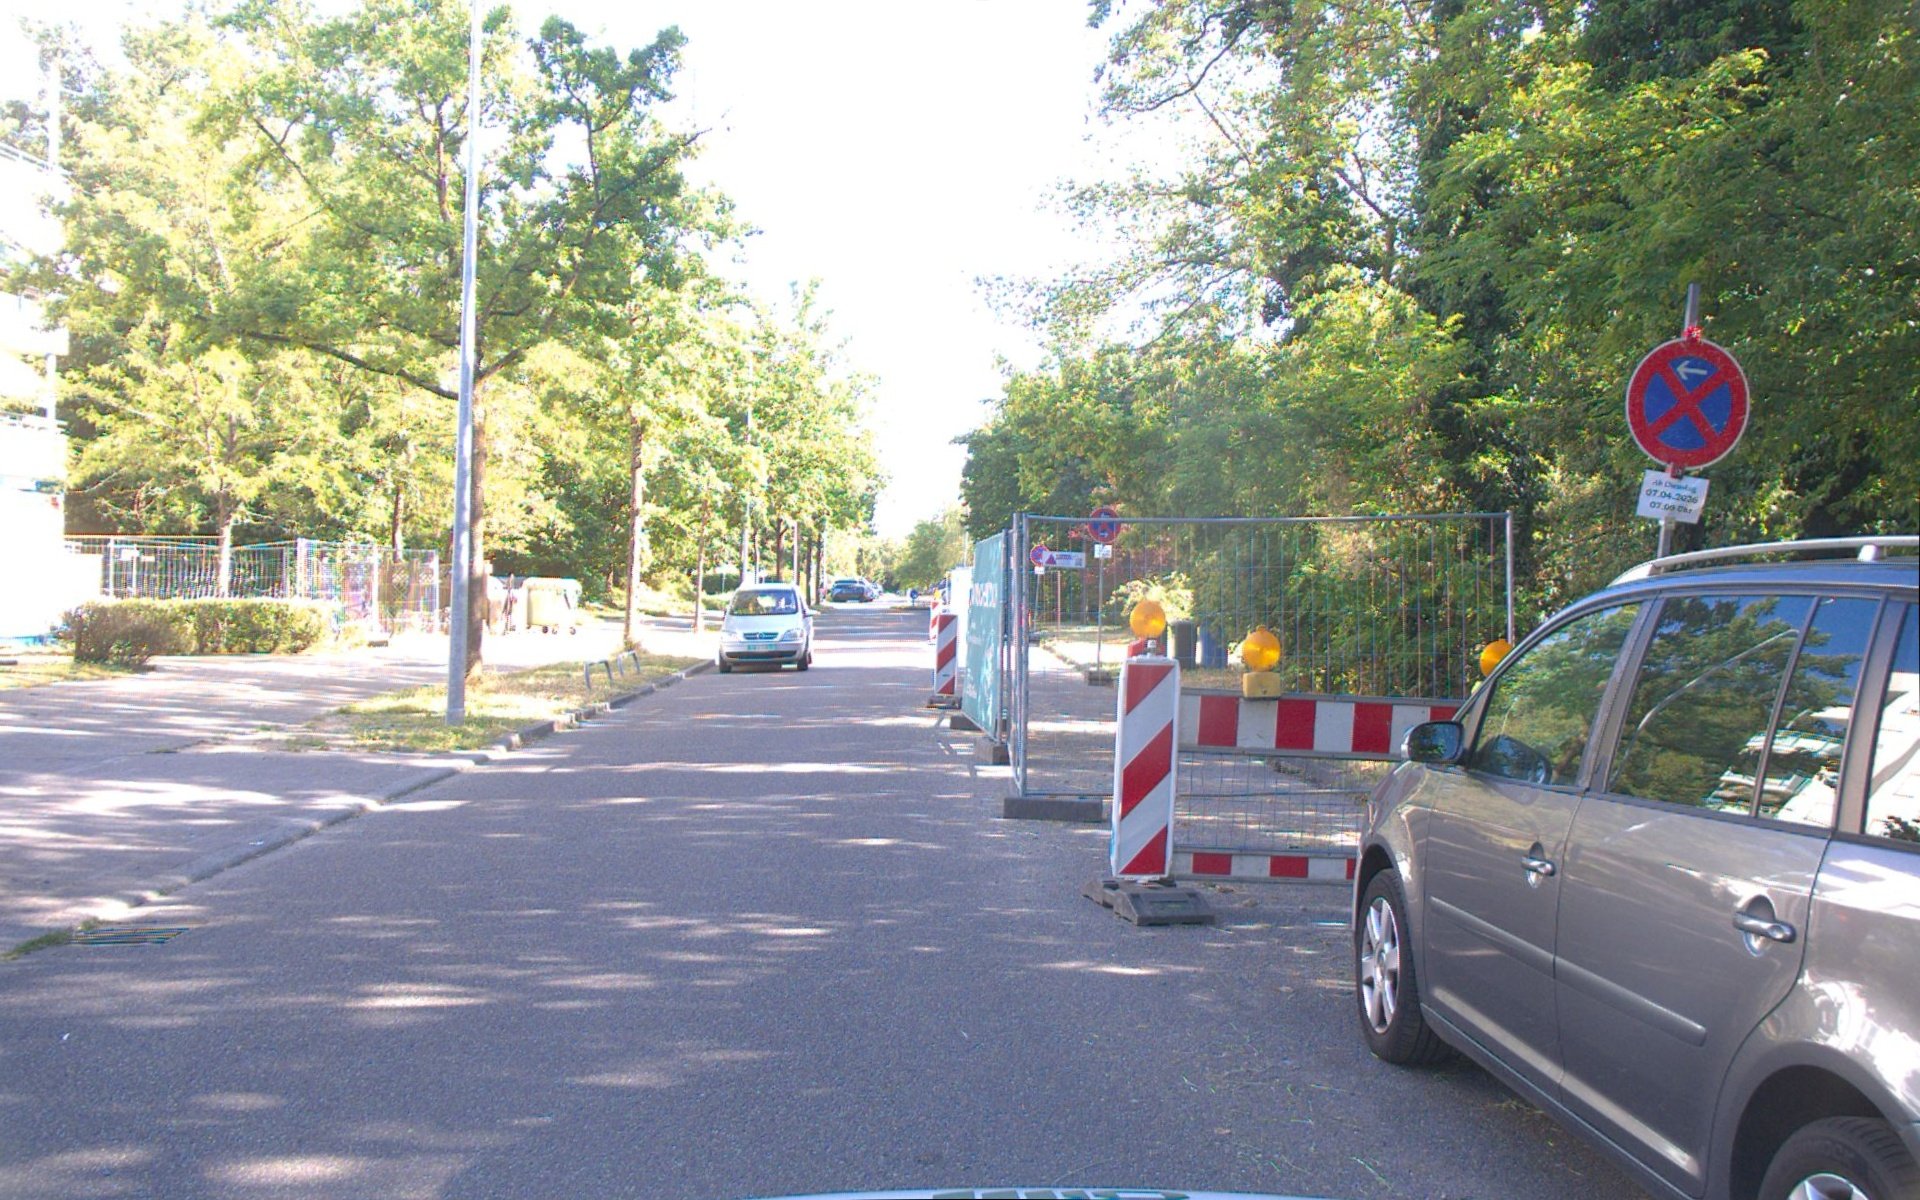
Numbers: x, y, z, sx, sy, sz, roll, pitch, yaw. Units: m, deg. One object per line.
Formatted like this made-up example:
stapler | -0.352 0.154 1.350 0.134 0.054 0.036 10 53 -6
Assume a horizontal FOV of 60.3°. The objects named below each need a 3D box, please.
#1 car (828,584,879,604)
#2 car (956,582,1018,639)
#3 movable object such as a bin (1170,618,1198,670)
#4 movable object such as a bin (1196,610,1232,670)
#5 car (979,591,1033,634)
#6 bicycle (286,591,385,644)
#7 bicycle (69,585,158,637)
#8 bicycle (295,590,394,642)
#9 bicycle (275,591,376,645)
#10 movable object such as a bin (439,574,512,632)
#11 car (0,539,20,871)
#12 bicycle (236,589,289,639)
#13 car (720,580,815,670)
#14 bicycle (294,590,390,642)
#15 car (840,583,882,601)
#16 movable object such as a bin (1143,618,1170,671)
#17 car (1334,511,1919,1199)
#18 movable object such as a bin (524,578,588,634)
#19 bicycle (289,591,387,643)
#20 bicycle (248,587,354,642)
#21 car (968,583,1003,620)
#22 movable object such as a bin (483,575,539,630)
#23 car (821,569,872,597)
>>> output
car | -9.595 -0.542 148.637 4.227 1.604 2.047 3 0 5
car | 0.905 0.309 52.724 1.772 1.680 4.422 3 0 2
movable object such as a bin | 3.890 0.761 28.751 0.404 0.885 0.484 -1 0 -1
movable object such as a bin | 4.399 0.686 28.705 0.508 1.017 0.608 -1 0 -1
car | 1.619 0.431 59.291 1.628 1.399 4.153 3 0 -2
bicycle | -12.545 0.353 33.248 1.807 1.045 0.399 1 -1 -15
bicycle | -17.567 0.234 34.344 1.659 1.045 0.401 1 -1 4
bicycle | -12.857 0.334 34.597 1.882 1.045 0.399 1 -1 -15
bicycle | -12.559 0.365 32.774 1.824 1.045 0.399 1 -1 -15
movable object such as a bin | -12.472 0.064 42.570 1.244 1.460 1.324 1 0 26
car | -5.543 0.498 6.128 1.740 1.650 4.219 3 0 -2
bicycle | -14.955 0.297 35.506 0.391 1.045 1.700 1 -1 1
car | -3.675 0.441 32.053 1.627 1.624 4.005 1 0 -4
bicycle | -12.749 0.331 34.136 1.807 1.045 0.399 1 -1 -15
car | -9.832 -0.844 164.937 4.023 1.604 1.958 3 0 0
movable object such as a bin | 3.410 0.769 28.719 0.404 0.885 0.484 -1 0 -1
car | 2.310 0.694 4.075 1.645 1.650 4.135 2 0 -2
movable object such as a bin | -10.701 0.148 43.834 1.242 1.460 1.182 1 0 14
bicycle | -12.665 0.347 33.716 1.828 1.045 0.399 1 -1 -15
bicycle | -12.665 0.282 31.830 1.837 1.045 0.399 1 -1 -15
car | 1.274 0.061 83.853 1.590 1.804 3.668 3 0 -1
movable object such as a bin | -12.344 0.061 45.427 1.132 1.460 1.258 0 0 -35
car | -11.960 -1.788 173.819 5.100 2.666 2.290 3 0 -7
